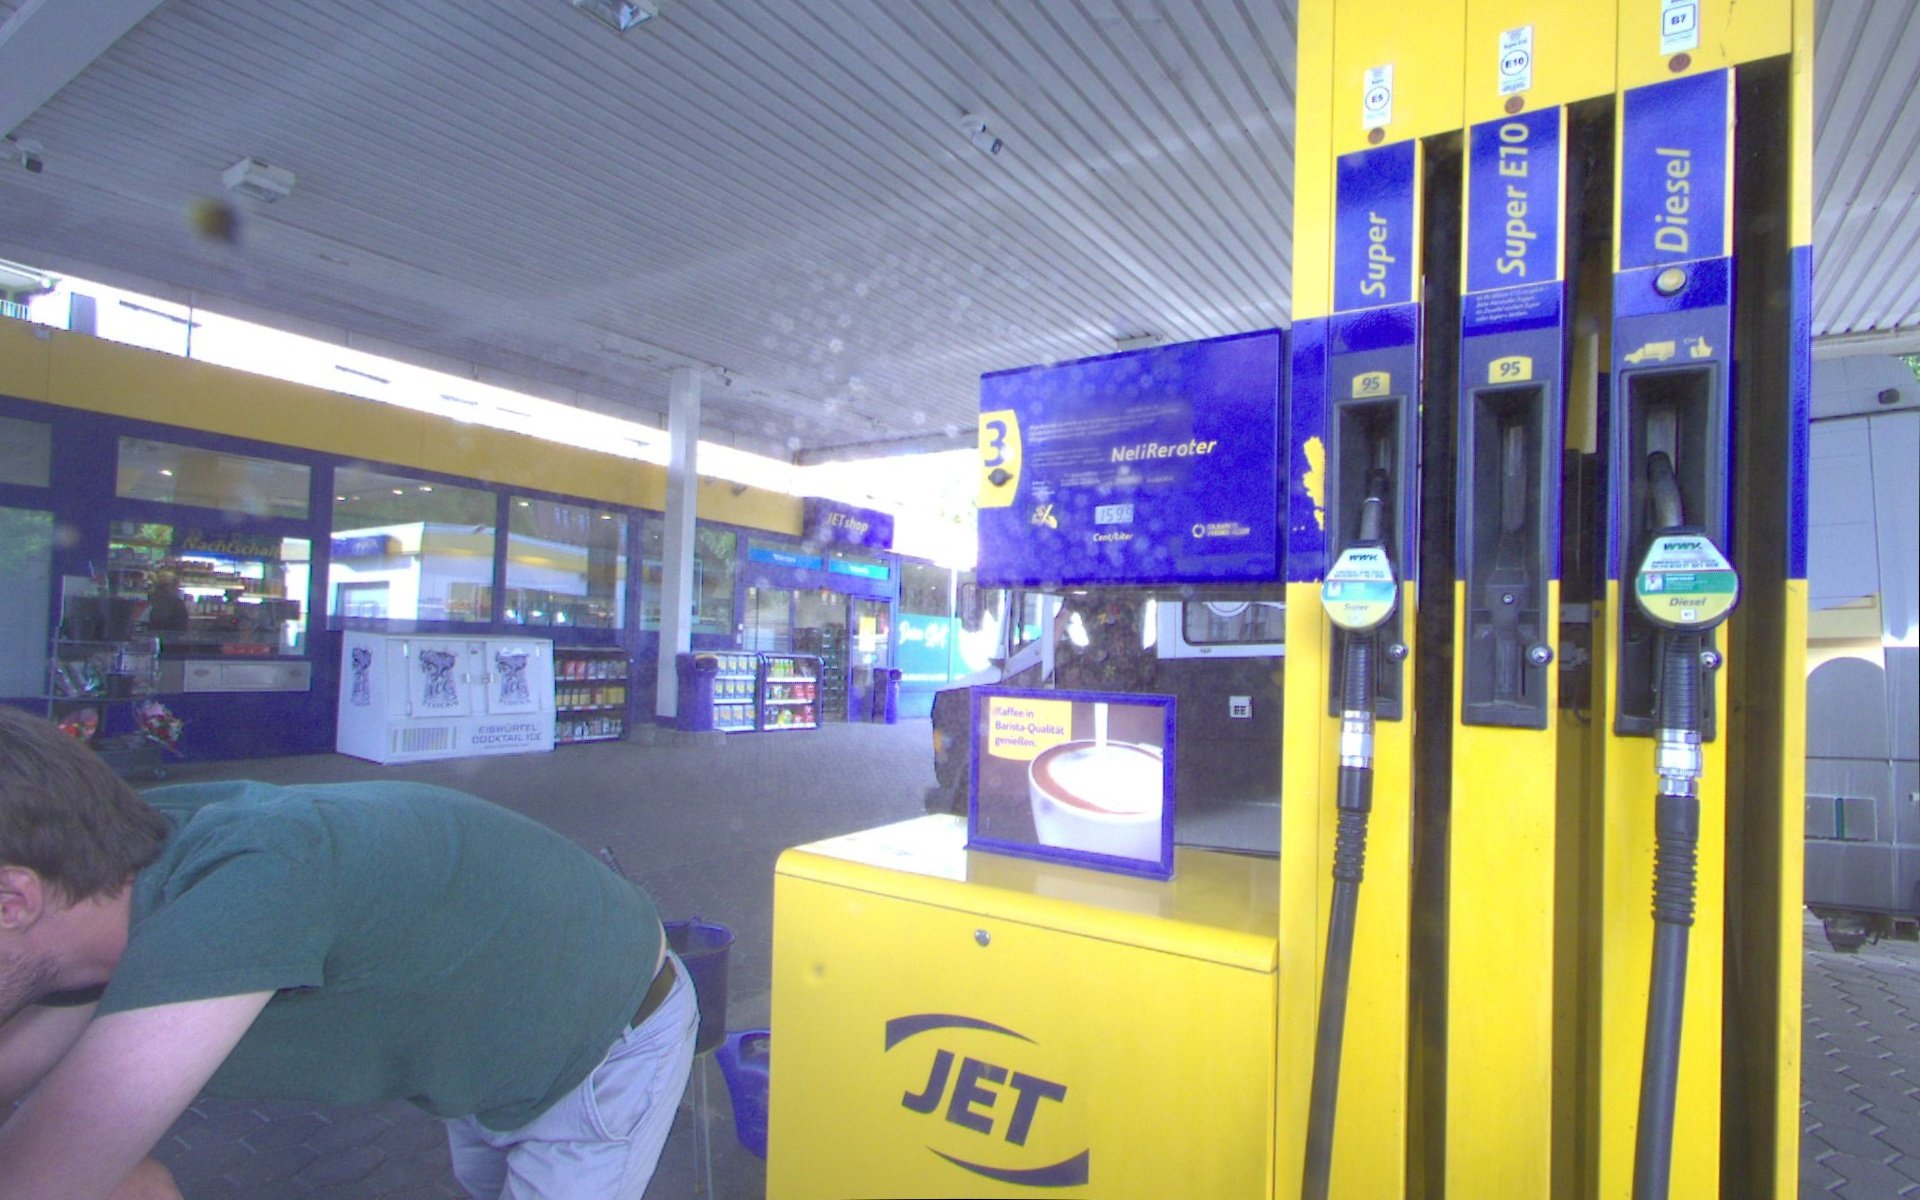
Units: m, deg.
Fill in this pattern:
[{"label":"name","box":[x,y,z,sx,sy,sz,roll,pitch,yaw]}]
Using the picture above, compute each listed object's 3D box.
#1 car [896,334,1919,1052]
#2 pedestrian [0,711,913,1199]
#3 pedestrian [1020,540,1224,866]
[{"label":"car","box":[2.392,0.410,6.017,5.219,2.724,2.250,0,-3,34]},{"label":"pedestrian","box":[-0.531,0.805,1.072,0.664,1.298,0.749,-1,-1,31]},{"label":"pedestrian","box":[0.936,0.584,6.055,0.961,1.785,0.980,0,-1,-8]}]
